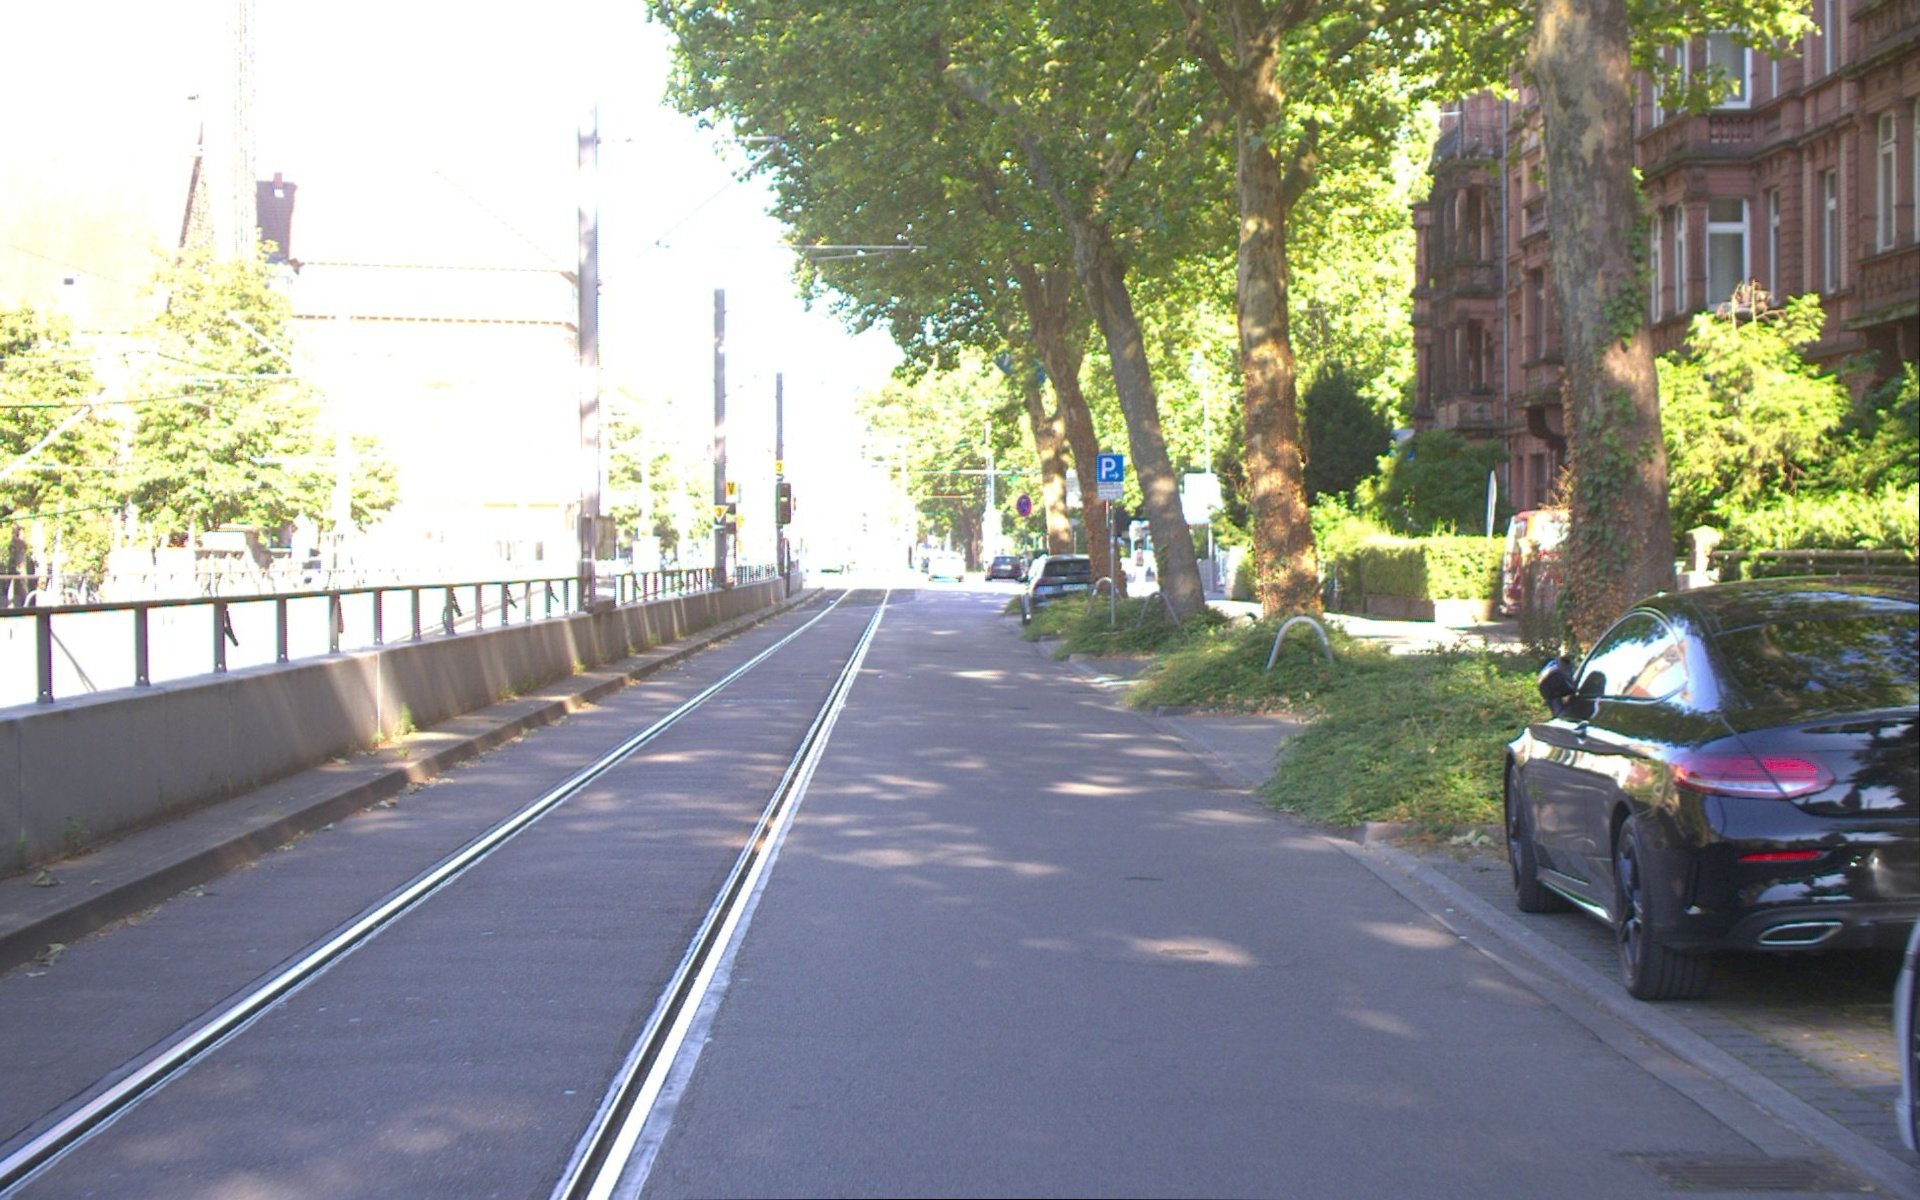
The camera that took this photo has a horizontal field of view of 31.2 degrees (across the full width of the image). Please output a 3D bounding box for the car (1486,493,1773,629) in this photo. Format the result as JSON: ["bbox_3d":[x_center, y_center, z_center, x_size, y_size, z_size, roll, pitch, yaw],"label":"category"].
[{"bbox_3d":[10.896,-0.642,56.138,4.175,2.007,2.000,-3,1,-2],"label":"car"}]

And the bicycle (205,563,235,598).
[{"bbox_3d":[-22.975,-0.597,106.723,0.485,1.019,1.894,2,1,-25],"label":"bicycle"}]

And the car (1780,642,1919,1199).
[{"bbox_3d":[2.900,0.787,6.218,1.830,1.322,4.000,0,1,-1],"label":"car"}]

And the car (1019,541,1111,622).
[{"bbox_3d":[2.122,-0.391,70.501,1.616,1.582,4.417,-1,1,-2],"label":"car"}]

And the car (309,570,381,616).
[{"bbox_3d":[-22.689,-0.277,126.954,1.716,1.550,4.510,2,1,1],"label":"car"}]

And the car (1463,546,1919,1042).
[{"bbox_3d":[3.103,0.567,13.017,1.732,1.531,4.805,0,1,1],"label":"car"}]

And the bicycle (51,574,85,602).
[{"bbox_3d":[-26.160,-0.364,100.892,0.416,0.797,1.887,2,1,2],"label":"bicycle"}]

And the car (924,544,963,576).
[{"bbox_3d":[-0.815,-1.946,168.271,1.745,1.457,3.645,2,1,-2],"label":"car"}]

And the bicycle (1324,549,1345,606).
[{"bbox_3d":[8.343,-0.513,76.609,0.337,1.245,1.766,2,1,3],"label":"bicycle"}]
